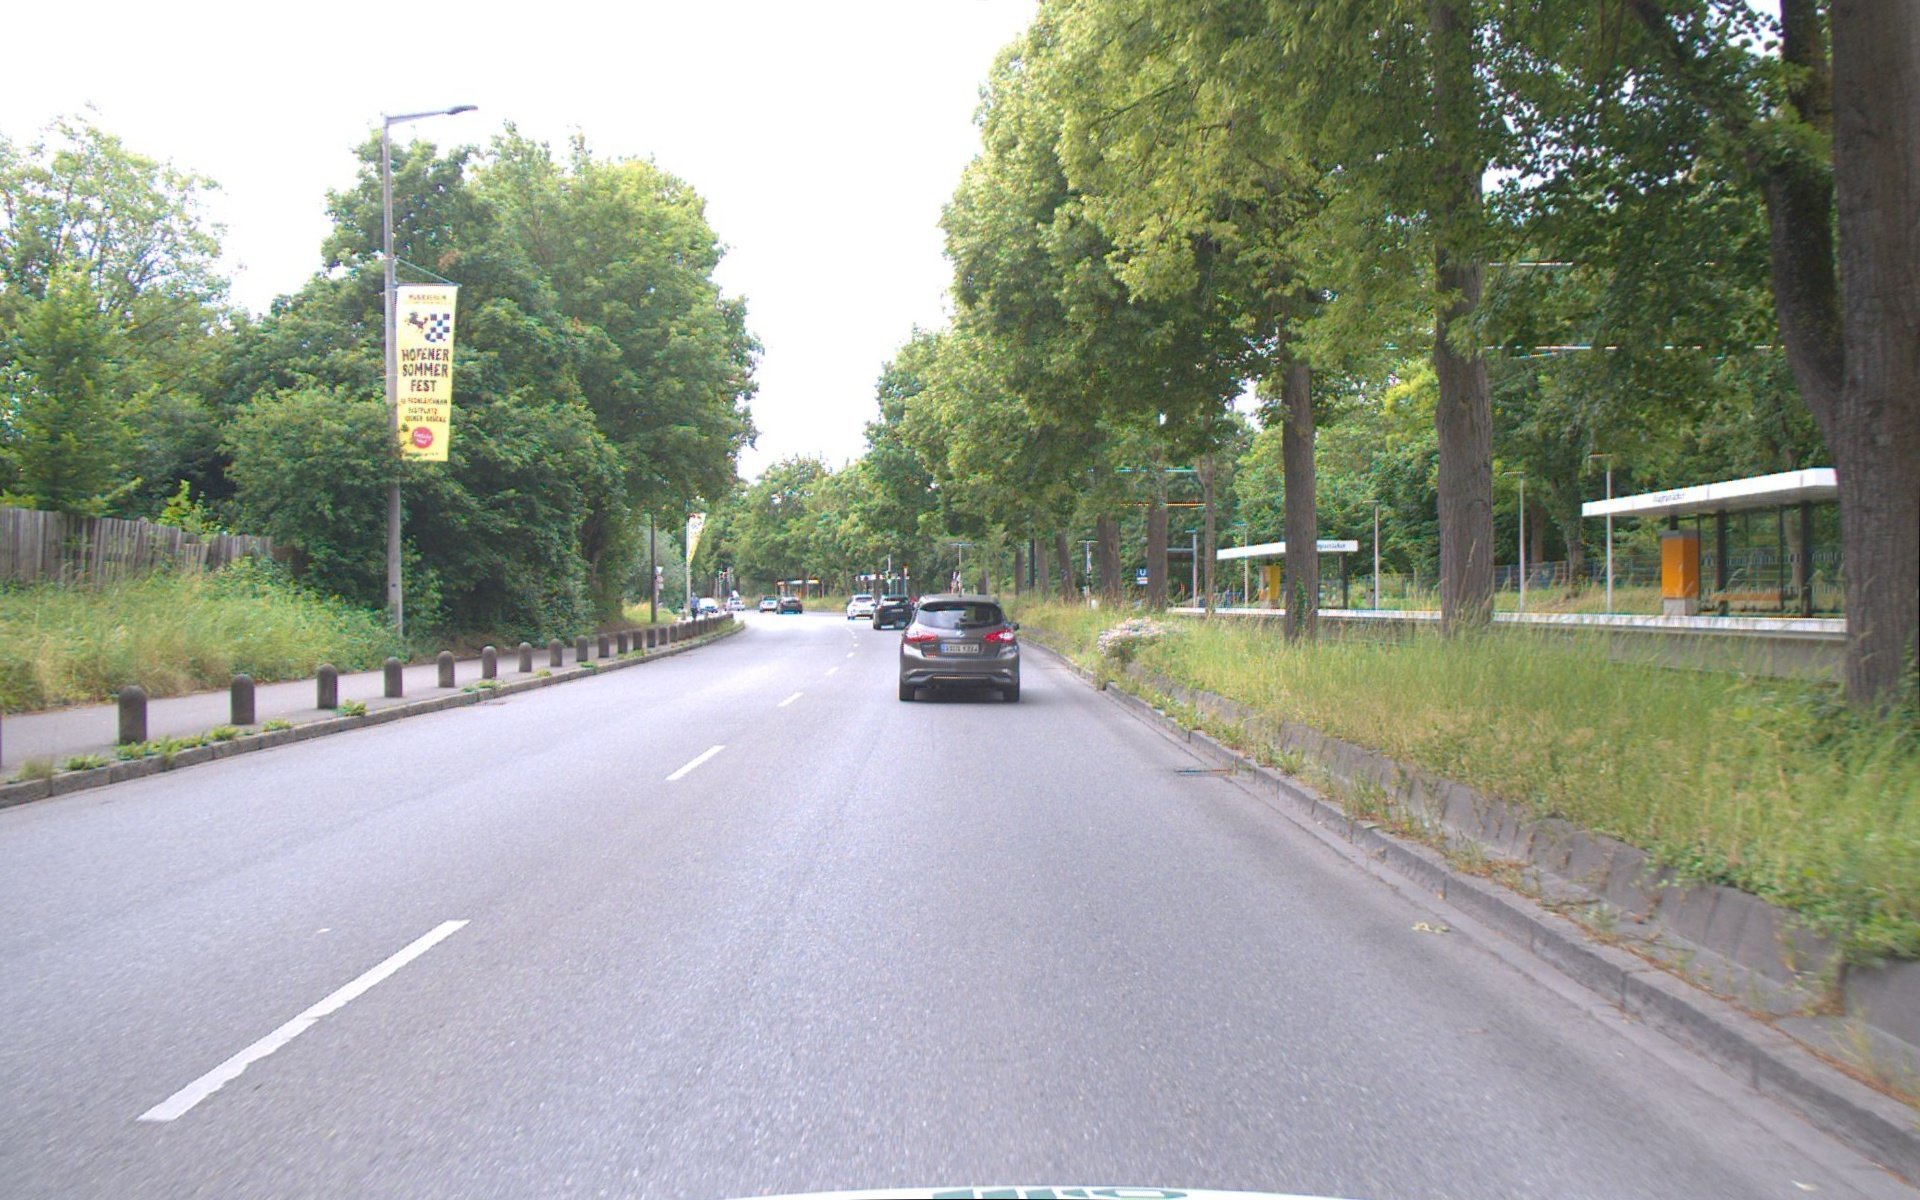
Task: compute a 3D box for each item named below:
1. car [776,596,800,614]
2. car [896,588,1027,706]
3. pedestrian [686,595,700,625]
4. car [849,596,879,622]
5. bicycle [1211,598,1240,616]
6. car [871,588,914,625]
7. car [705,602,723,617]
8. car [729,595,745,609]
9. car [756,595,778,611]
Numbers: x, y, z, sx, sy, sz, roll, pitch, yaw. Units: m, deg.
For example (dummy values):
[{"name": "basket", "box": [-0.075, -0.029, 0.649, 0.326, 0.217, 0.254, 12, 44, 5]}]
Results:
[{"name": "car", "box": [-14.523, 0.446, 139.469, 1.743, 1.498, 3.991, 0, 0, -10]}, {"name": "car", "box": [0.003, 0.639, 24.950, 1.779, 1.534, 4.000, -2, 1, -1]}, {"name": "pedestrian", "box": [-15.247, 0.570, 94.463, 0.676, 1.663, 0.837, 1, -1, -6]}, {"name": "car", "box": [-5.981, 0.555, 102.695, 1.741, 1.498, 3.996, 1, 0, -5]}, {"name": "bicycle", "box": [14.799, 0.405, 92.210, 1.480, 0.990, 0.449, 1, -1, -9]}, {"name": "car", "box": [-2.890, 0.275, 71.516, 1.740, 1.498, 3.999, 1, 0, -2]}, {"name": "car", "box": [-24.752, 0.940, 166.489, 1.740, 1.464, 4.354, -2, 0, -7]}, {"name": "car", "box": [-24.035, 0.227, 178.254, 1.743, 1.498, 3.993, 1, 0, -8]}, {"name": "car", "box": [-18.112, 0.250, 155.323, 1.744, 1.498, 3.989, 0, 0, -11]}]
